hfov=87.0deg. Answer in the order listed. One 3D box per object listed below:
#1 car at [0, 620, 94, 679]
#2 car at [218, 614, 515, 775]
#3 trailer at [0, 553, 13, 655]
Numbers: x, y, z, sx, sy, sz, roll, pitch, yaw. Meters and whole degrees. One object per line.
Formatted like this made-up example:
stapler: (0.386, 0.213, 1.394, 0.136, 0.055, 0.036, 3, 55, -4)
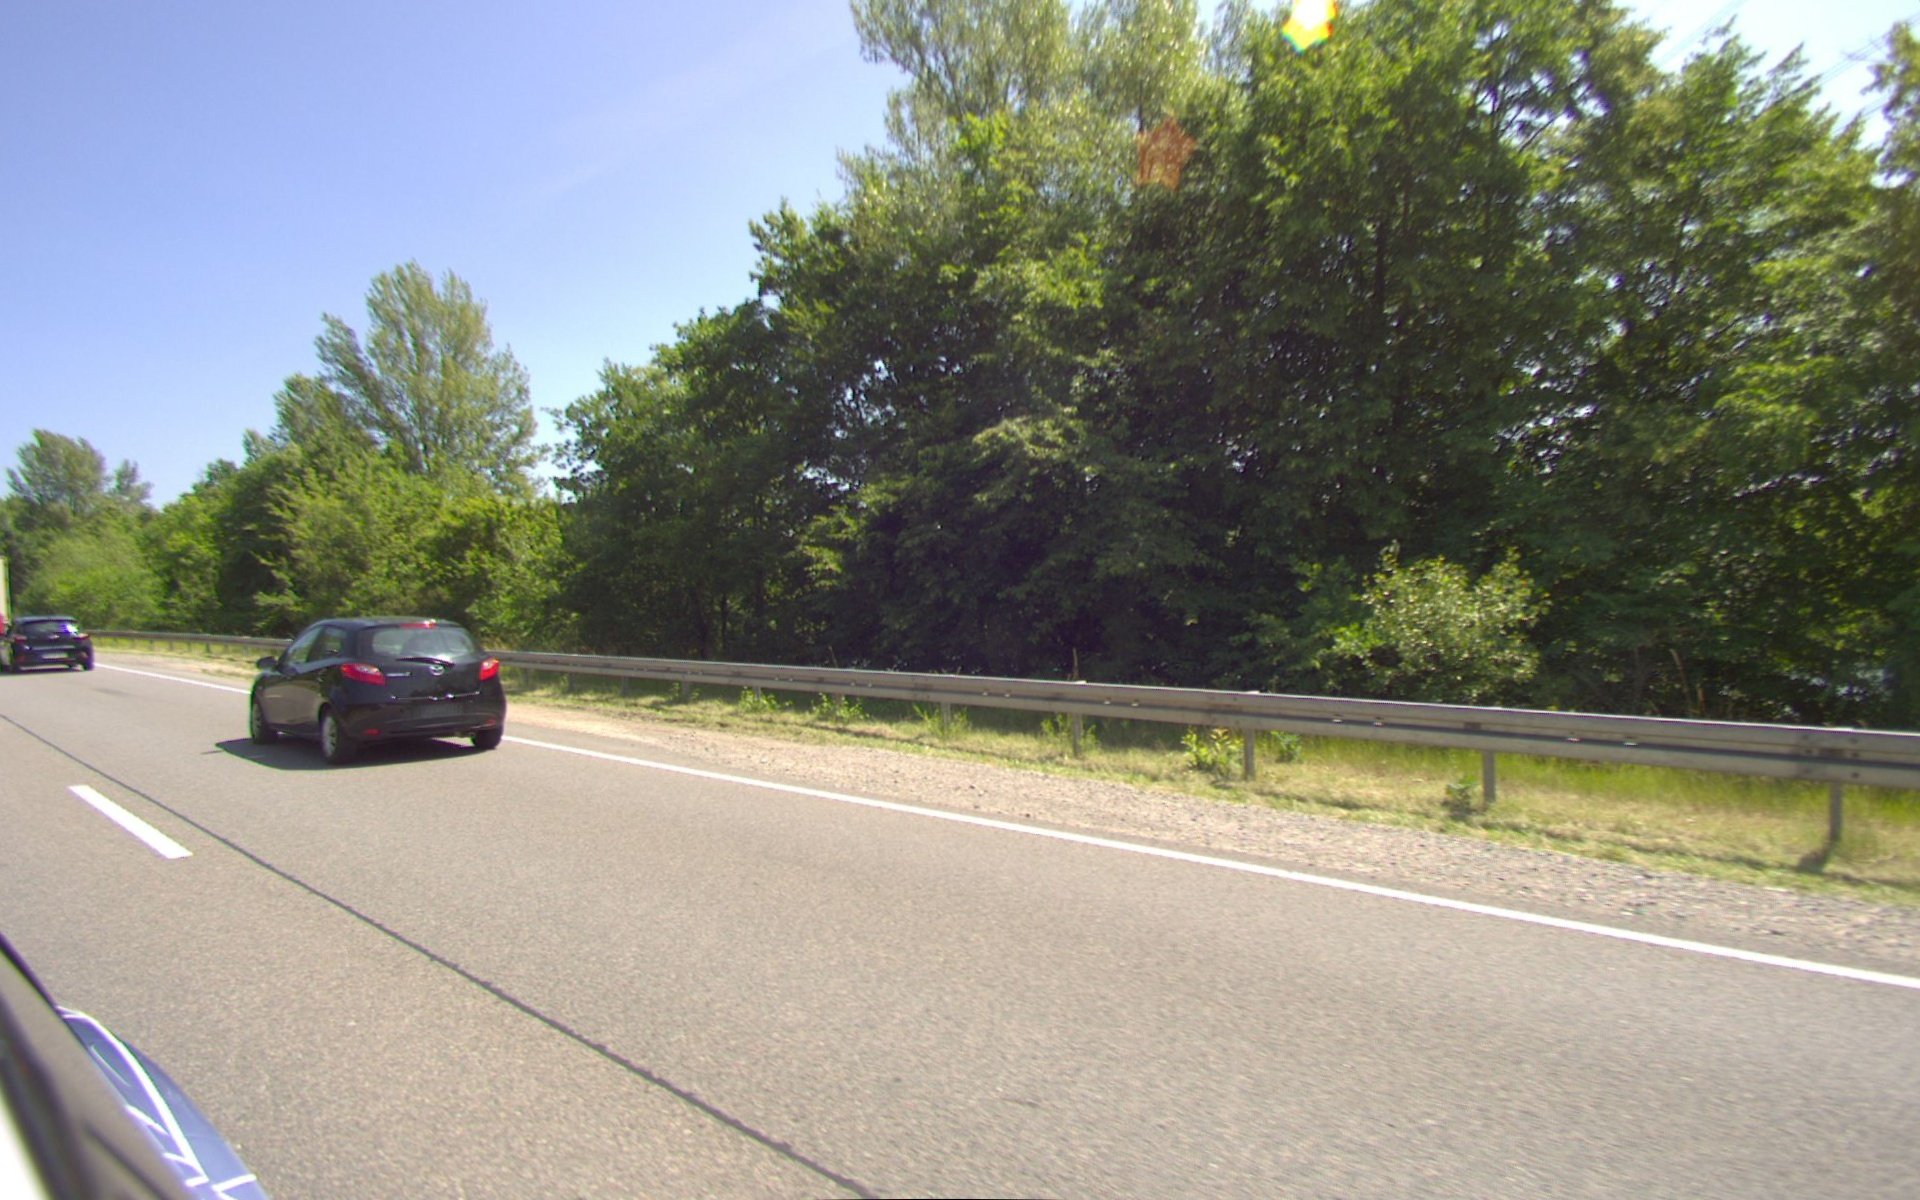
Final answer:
car: (-24.726, 1.265, 27.221, 4.178, 1.448, 1.617, -1, -1, 41)
car: (-6.723, 0.902, 11.263, 4.232, 1.448, 1.617, -1, -1, 41)
trailer: (-43.688, 0.332, 43.678, 13.681, 4.029, 2.734, -1, 2, 42)
